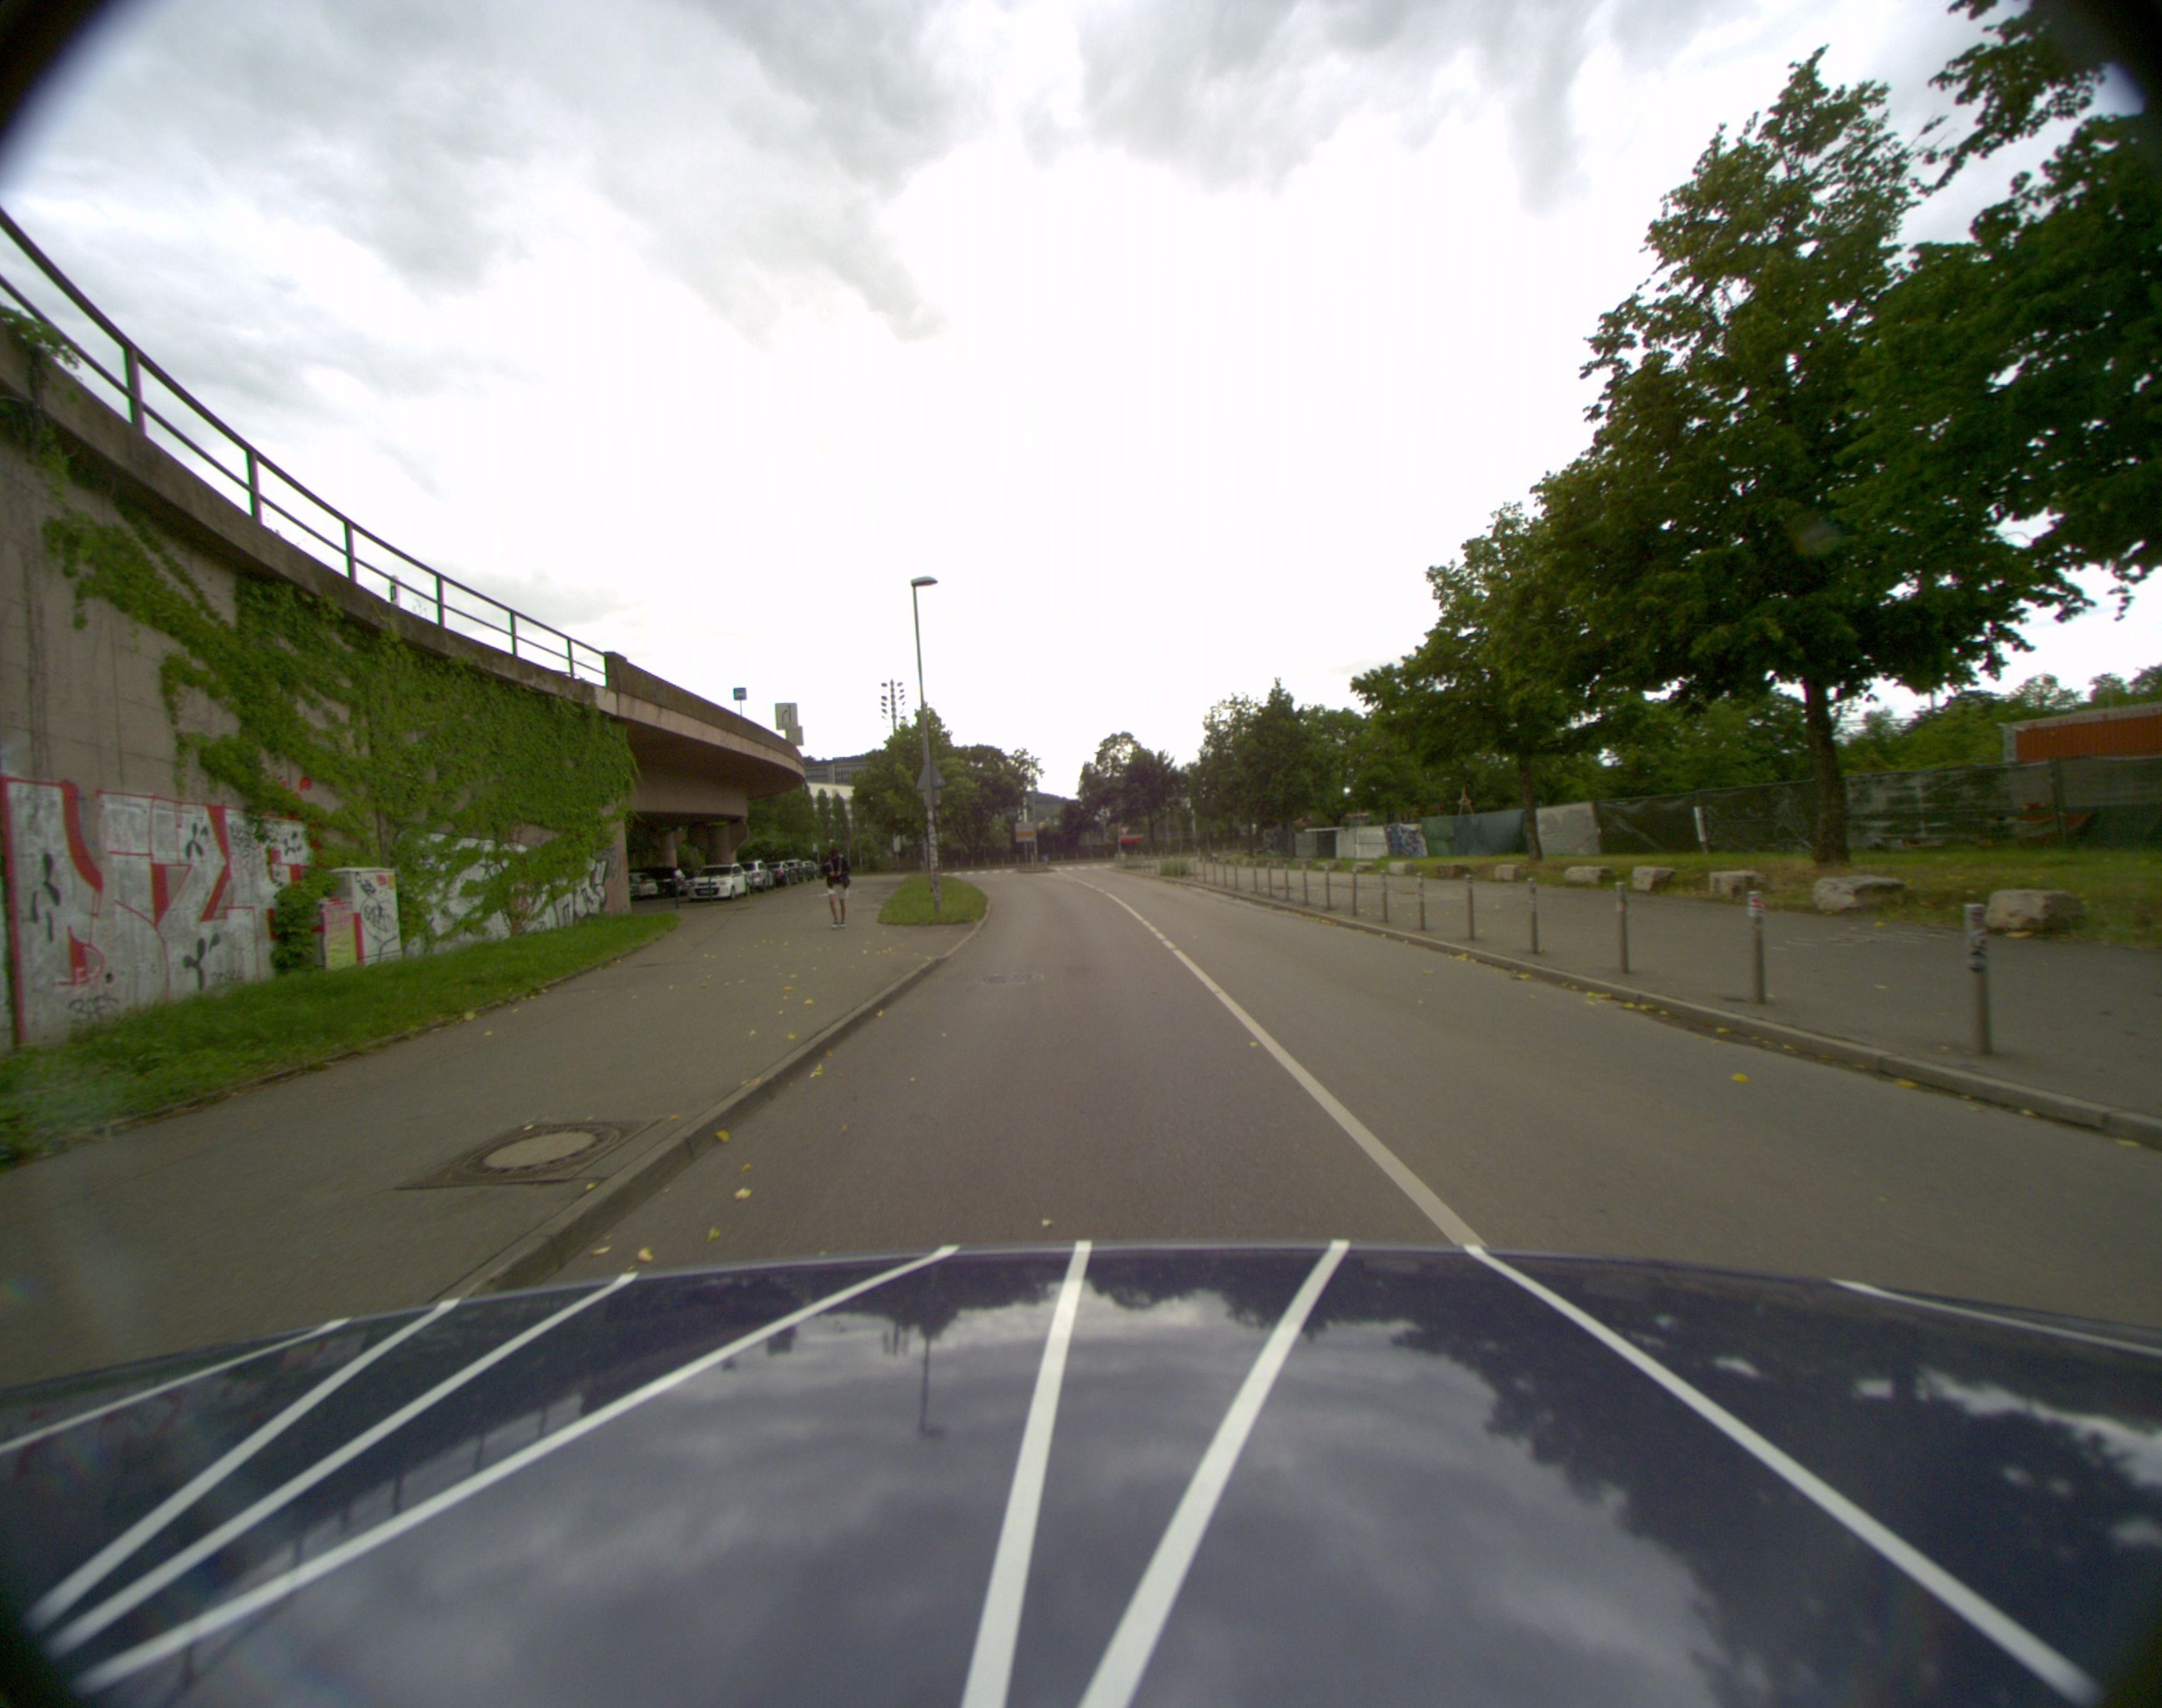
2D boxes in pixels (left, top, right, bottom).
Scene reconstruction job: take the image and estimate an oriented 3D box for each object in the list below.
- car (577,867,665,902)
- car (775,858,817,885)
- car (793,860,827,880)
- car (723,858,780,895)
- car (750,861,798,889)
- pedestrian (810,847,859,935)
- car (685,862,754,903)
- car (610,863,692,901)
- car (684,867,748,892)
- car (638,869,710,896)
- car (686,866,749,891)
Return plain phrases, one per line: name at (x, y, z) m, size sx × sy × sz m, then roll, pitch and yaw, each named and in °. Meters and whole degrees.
car at (-22.526, 1.492, 37.294) m, size 3.319 × 1.401 × 1.351 m, roll -4°, pitch 1°, yaw -5°
car at (-17.609, 1.059, 47.076) m, size 1.628 × 1.366 × 4.172 m, roll -8°, pitch 2°, yaw -12°
car at (-18.674, 1.069, 52.559) m, size 1.628 × 1.231 × 4.055 m, roll -3°, pitch 0°, yaw -12°
car at (-15.715, 1.032, 36.411) m, size 1.616 × 1.521 × 3.914 m, roll -5°, pitch 1°, yaw -11°
car at (-16.808, 1.135, 41.752) m, size 1.628 × 1.308 × 3.773 m, roll -6°, pitch 1°, yaw -11°
pedestrian at (-5.460, 0.798, 16.880) m, size 0.822 × 1.869 × 1.179 m, roll -1°, pitch 1°, yaw -10°
car at (-14.694, 1.120, 31.090) m, size 1.611 × 1.437 × 3.472 m, roll -3°, pitch 1°, yaw -10°
car at (-22.276, 1.447, 39.439) m, size 3.319 × 1.677 × 1.435 m, roll -4°, pitch 1°, yaw -5°
car at (-23.265, 1.616, 48.506) m, size 3.313 × 1.297 × 1.487 m, roll -3°, pitch 1°, yaw -6°
car at (-23.461, 1.628, 43.851) m, size 3.319 × 1.287 × 1.351 m, roll -3°, pitch 1°, yaw -5°
car at (-24.356, 1.634, 50.963) m, size 3.474 × 1.376 × 1.423 m, roll -3°, pitch 2°, yaw -8°
